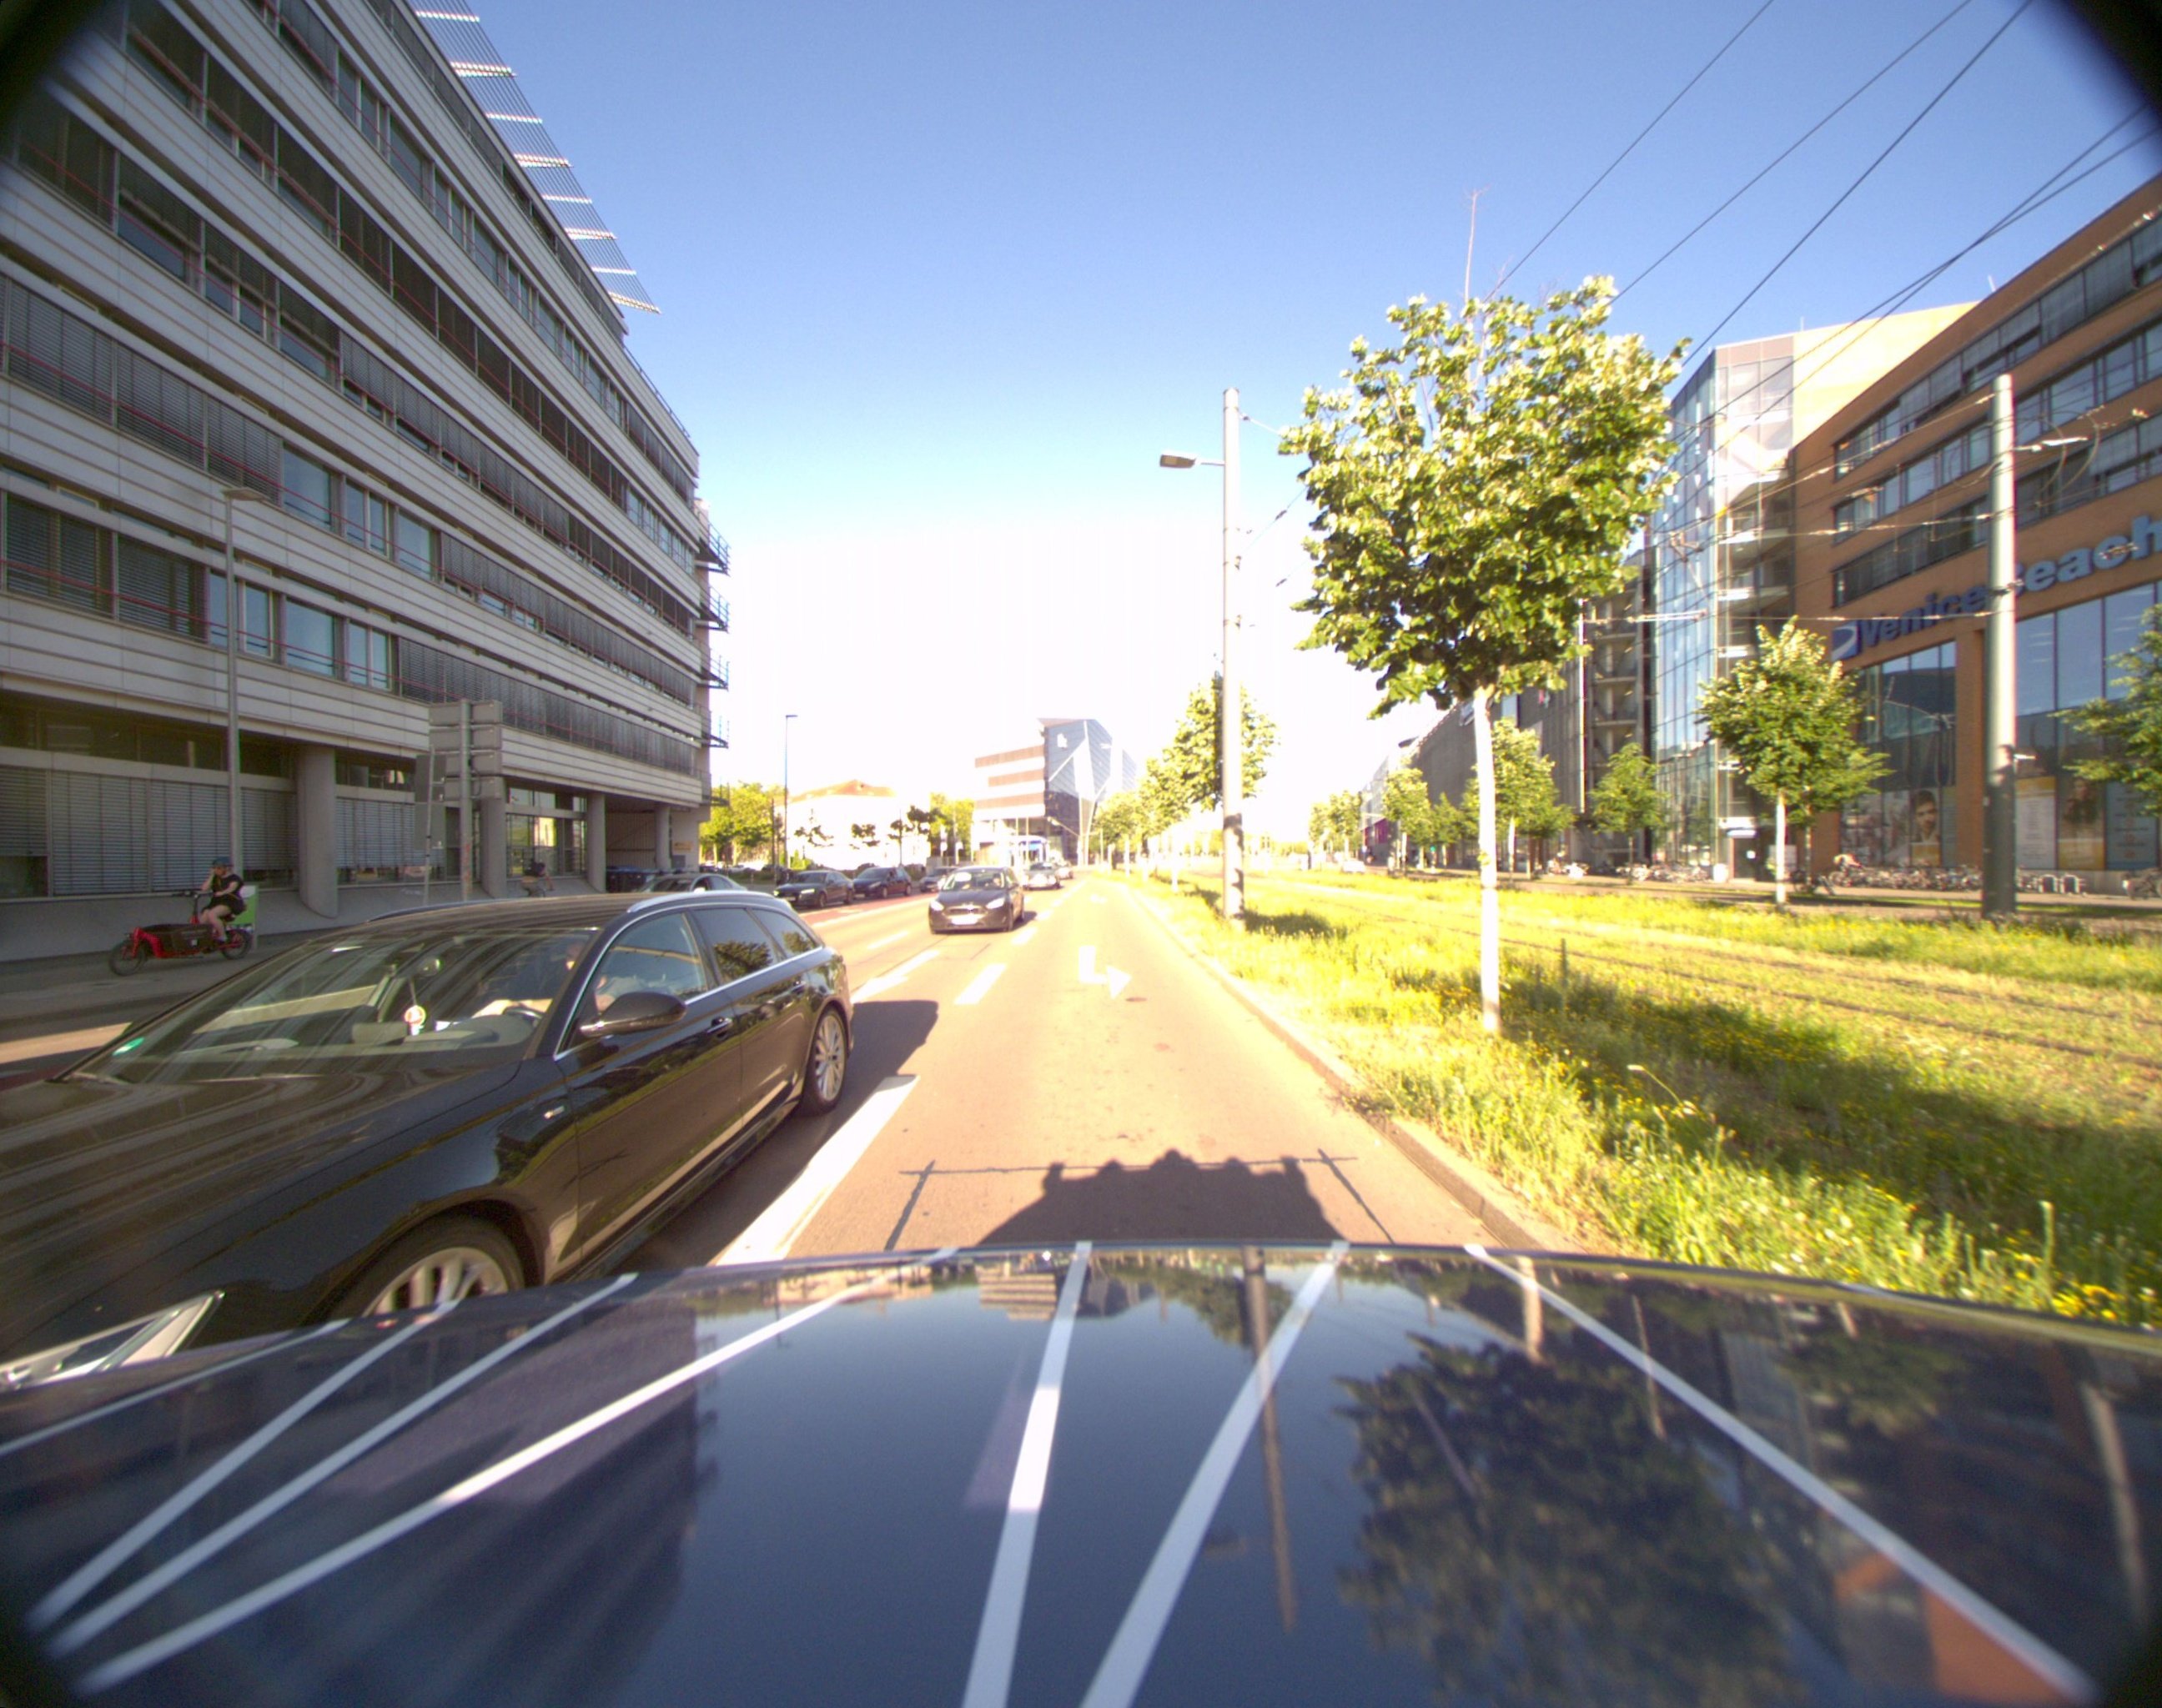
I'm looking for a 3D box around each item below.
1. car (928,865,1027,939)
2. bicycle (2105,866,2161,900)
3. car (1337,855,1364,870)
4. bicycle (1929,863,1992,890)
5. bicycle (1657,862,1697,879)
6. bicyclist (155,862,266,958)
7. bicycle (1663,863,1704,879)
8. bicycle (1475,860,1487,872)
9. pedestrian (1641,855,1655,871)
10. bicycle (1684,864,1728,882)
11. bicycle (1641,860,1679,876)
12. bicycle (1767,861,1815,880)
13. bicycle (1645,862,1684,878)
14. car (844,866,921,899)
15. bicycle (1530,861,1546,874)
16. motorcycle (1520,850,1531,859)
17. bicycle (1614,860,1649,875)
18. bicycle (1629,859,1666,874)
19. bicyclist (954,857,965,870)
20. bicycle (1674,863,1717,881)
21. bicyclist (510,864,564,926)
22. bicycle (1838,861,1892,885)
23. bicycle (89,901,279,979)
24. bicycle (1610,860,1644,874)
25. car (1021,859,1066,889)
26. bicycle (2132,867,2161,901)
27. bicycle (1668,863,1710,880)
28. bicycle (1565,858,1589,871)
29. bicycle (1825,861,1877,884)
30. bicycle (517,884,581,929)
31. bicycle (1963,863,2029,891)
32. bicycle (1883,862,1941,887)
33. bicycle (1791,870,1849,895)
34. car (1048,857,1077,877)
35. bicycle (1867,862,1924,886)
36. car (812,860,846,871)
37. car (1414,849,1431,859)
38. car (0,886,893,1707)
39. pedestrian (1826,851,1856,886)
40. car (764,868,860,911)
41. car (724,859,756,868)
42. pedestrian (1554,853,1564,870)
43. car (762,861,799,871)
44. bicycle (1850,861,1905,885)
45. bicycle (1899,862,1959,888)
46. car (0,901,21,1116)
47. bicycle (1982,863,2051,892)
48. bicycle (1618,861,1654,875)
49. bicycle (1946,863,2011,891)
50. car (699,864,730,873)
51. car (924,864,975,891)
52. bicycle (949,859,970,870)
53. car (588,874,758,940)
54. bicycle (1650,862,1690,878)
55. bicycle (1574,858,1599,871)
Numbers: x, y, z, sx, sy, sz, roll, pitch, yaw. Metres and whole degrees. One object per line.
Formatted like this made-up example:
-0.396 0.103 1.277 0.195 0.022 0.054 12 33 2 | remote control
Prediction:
-2.290 1.024 17.730 1.690 1.425 4.153 -2 0 0 | car
33.890 0.927 24.160 1.769 1.043 0.491 -1 1 7 | bicycle
24.399 0.762 68.894 1.809 1.320 4.409 0 0 12 | car
34.973 0.889 30.220 1.769 1.043 0.491 -1 1 7 | bicycle
34.511 0.961 43.998 1.768 0.921 0.565 -1 1 16 | bicycle
-14.881 0.929 13.019 0.625 1.557 1.044 -1 1 6 | bicyclist
34.329 0.971 43.326 1.768 0.921 0.565 -1 1 16 | bicycle
30.444 0.901 57.867 0.386 0.918 1.773 -1 0 12 | bicycle
39.687 0.628 53.182 0.629 1.048 0.450 -1 1 12 | pedestrian
33.633 1.008 40.893 1.768 0.921 0.565 -1 1 16 | bicycle
35.086 0.856 46.030 1.768 0.921 0.491 -1 1 16 | bicycle
36.606 0.859 39.193 1.768 0.921 0.565 -1 1 16 | bicycle
34.825 0.943 45.378 1.768 0.921 0.565 -1 1 16 | bicycle
-9.332 1.307 36.008 1.733 1.437 4.005 0 0 16 | car
31.619 0.933 52.608 0.386 0.863 1.773 -1 0 12 | bicycle
43.841 0.044 74.885 0.428 0.914 2.027 -1 0 15 | motorcycle
35.716 0.890 49.324 1.768 0.921 0.491 -1 1 16 | bicycle
35.369 0.789 47.435 1.768 0.921 0.491 -1 1 16 | bicycle
-15.135 1.186 94.660 1.006 1.597 0.880 -1 1 13 | bicyclist
33.845 0.996 41.877 1.768 0.921 0.565 -1 1 16 | bicycle
-14.473 1.071 20.241 0.685 1.608 0.991 -1 1 1 | bicyclist
35.455 0.851 34.365 1.769 1.043 0.491 -1 1 7 | bicycle
-14.857 1.383 12.699 0.500 1.026 2.206 2 0 2 | bicycle
35.910 0.872 49.967 1.768 0.921 0.491 -1 1 16 | bicycle
-1.965 1.036 40.651 1.748 1.496 3.882 -1 0 7 | car
33.838 0.921 23.490 1.769 1.043 0.491 -1 1 7 | bicycle
34.083 0.983 42.637 1.768 0.921 0.565 -1 1 16 | bicycle
36.701 0.771 56.226 1.398 0.921 0.462 -1 1 16 | bicycle
35.513 0.845 35.044 1.769 1.043 0.491 -1 1 7 | bicycle
-14.196 1.379 20.319 0.505 1.052 1.702 1 1 1 | bicycle
34.773 0.871 28.888 1.769 1.043 0.491 -1 1 7 | bicycle
35.262 0.868 32.260 1.769 1.043 0.491 -1 1 7 | bicycle
27.413 1.039 28.220 0.464 0.863 1.771 -1 0 0 | bicycle
-1.393 0.982 58.601 1.619 1.421 3.769 -2 0 6 | car
35.311 0.863 32.953 1.769 1.043 0.491 -1 1 7 | bicycle
-34.367 1.518 103.626 3.991 1.414 2.003 -1 0 19 | car
52.046 -0.031 115.911 1.582 1.521 3.754 -2 0 12 | car
-2.428 1.004 3.032 1.815 1.483 4.497 -2 0 5 | car
35.667 0.677 35.651 0.746 1.659 0.676 -1 1 6 | pedestrian
-10.058 1.281 28.733 1.713 1.432 4.114 -1 -1 8 | car
-48.799 1.381 108.708 3.990 1.237 2.003 -1 0 25 | car
37.231 0.583 59.194 0.448 1.282 0.630 -1 1 12 | pedestrian
-41.852 1.668 105.727 4.516 1.414 2.003 -1 0 18 | car
35.393 0.856 33.780 1.769 1.043 0.491 -1 1 7 | bicycle
35.173 0.875 31.527 1.769 1.043 0.491 -1 1 7 | bicycle
-9.382 1.199 3.780 1.691 1.619 4.465 -1 0 9 | car
34.722 0.876 28.206 1.769 1.043 0.491 -1 1 7 | bicycle
35.518 0.901 48.656 1.768 0.921 0.565 -1 1 16 | bicycle
34.883 0.896 29.543 1.769 1.043 0.491 -1 1 7 | bicycle
-53.758 2.124 111.417 3.990 1.368 1.938 -1 0 26 | car
-7.432 1.317 43.247 1.437 1.437 4.005 0 -1 12 | car
-15.120 1.344 94.644 2.368 1.304 0.952 -1 1 12 | bicycle
-10.583 1.322 20.179 1.754 1.423 4.490 -1 0 5 | car
34.646 0.953 44.684 1.768 0.921 0.565 -1 1 16 | bicycle
36.483 0.786 54.848 1.398 0.921 0.462 -1 1 16 | bicycle
